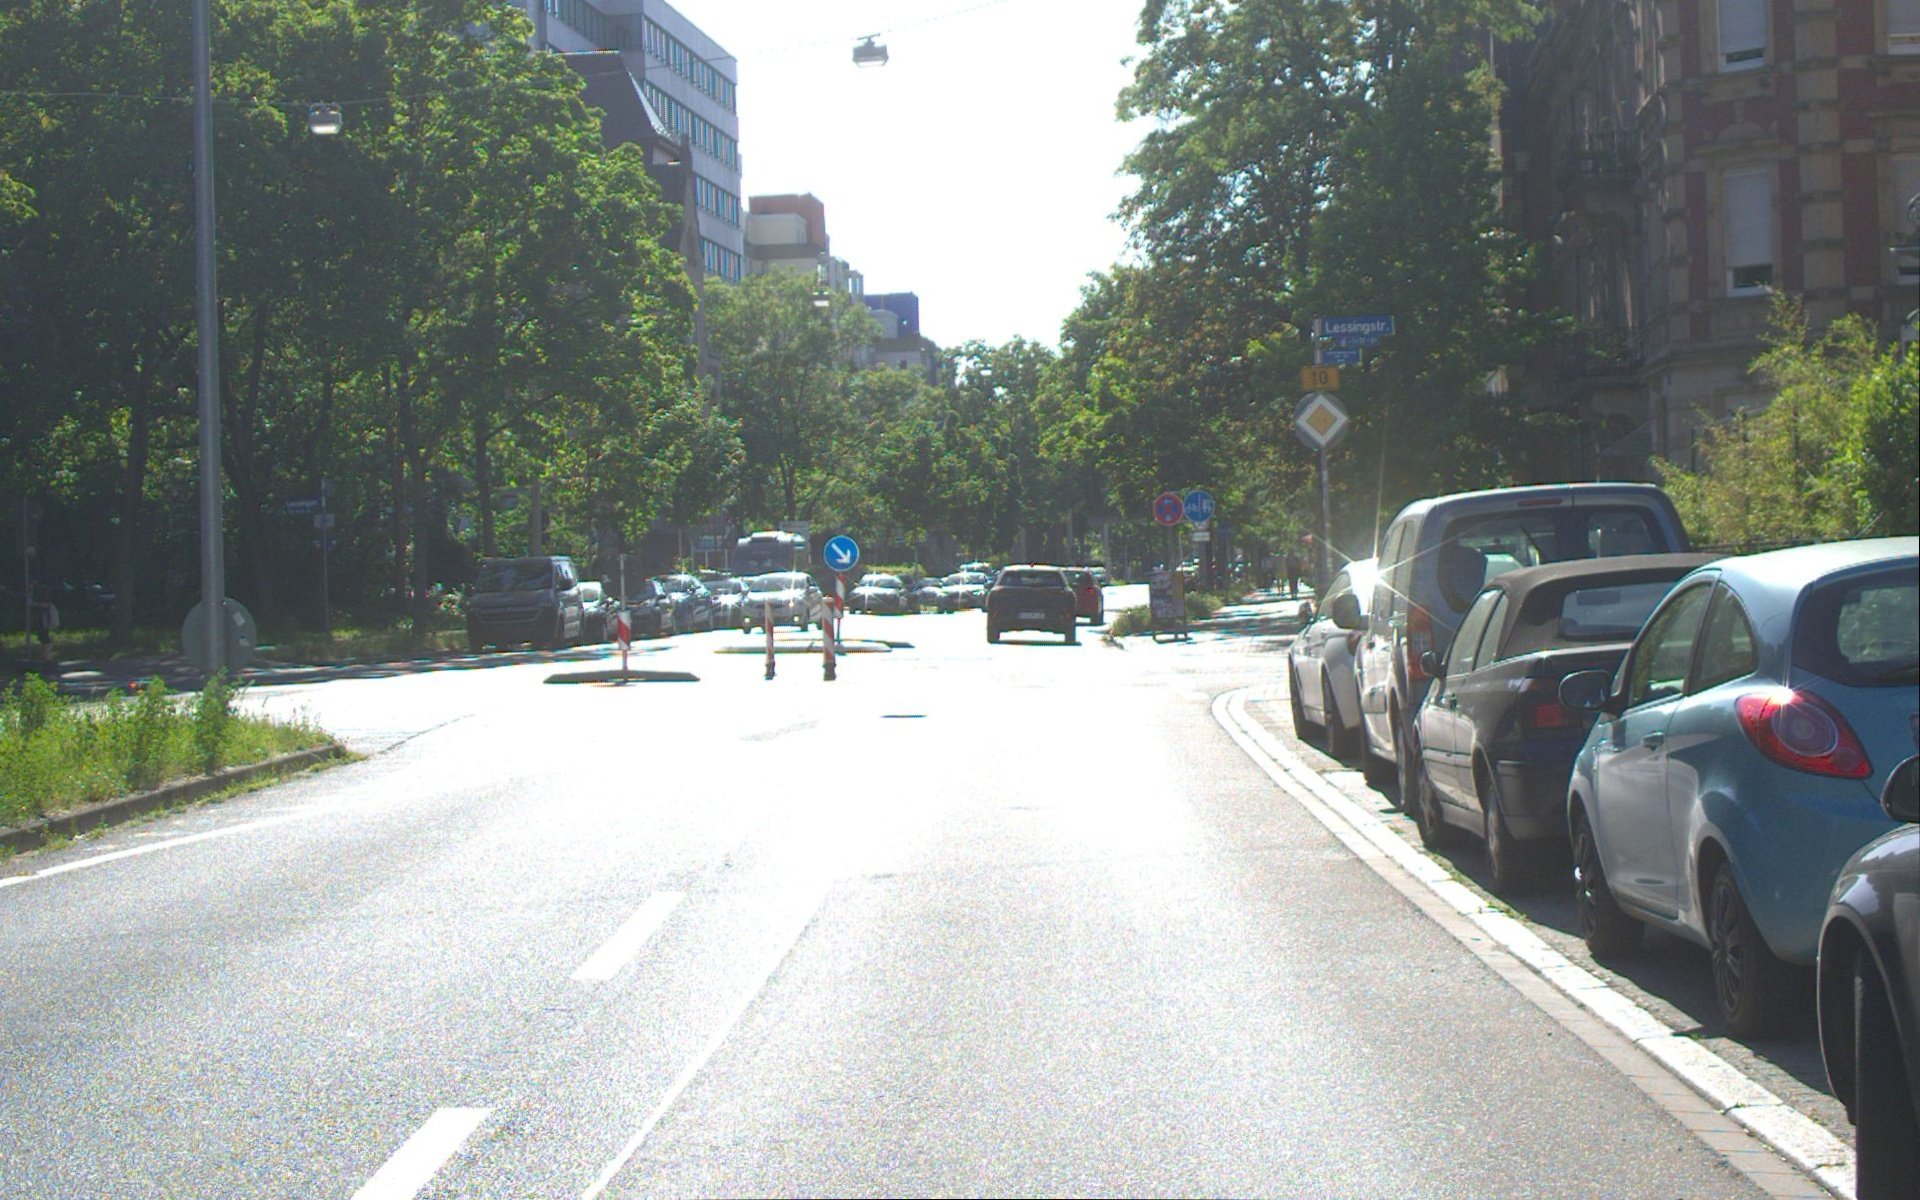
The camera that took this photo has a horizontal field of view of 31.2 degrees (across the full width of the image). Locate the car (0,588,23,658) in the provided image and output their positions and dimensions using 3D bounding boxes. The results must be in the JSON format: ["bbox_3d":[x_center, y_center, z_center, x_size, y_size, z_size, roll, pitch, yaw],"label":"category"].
[{"bbox_3d":[-24.315,0.575,83.550,1.975,1.656,4.000,-2,1,-30],"label":"car"}]

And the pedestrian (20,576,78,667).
[{"bbox_3d":[-16.480,0.393,62.173,0.669,1.621,0.714,-1,1,34],"label":"pedestrian"}]

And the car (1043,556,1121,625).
[{"bbox_3d":[3.234,-0.272,90.750,1.819,1.734,3.999,-1,1,5],"label":"car"}]

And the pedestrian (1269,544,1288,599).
[{"bbox_3d":[11.786,-1.056,127.121,0.614,2.007,0.681,-2,1,1],"label":"pedestrian"}]

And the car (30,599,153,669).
[{"bbox_3d":[-21.756,0.827,86.013,1.975,1.656,4.000,-2,1,-29],"label":"car"}]

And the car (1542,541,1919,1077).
[{"bbox_3d":[3.042,0.565,11.417,1.621,1.465,3.299,-1,1,0],"label":"car"}]

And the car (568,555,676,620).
[{"bbox_3d":[-8.395,-0.321,85.676,1.759,1.514,3.858,-1,1,8],"label":"car"}]

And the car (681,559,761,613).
[{"bbox_3d":[-6.637,-0.412,95.829,1.524,1.427,3.336,-1,1,8],"label":"car"}]

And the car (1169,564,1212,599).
[{"bbox_3d":[11.608,-0.925,172.715,1.921,1.634,3.999,-2,1,7],"label":"car"}]

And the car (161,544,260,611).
[{"bbox_3d":[-19.348,-0.581,88.669,1.974,1.656,4.001,-2,1,-19],"label":"car"}]

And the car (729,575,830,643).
[{"bbox_3d":[-4.496,0.200,86.249,1.759,1.514,3.858,-3,1,8],"label":"car"}]

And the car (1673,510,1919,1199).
[{"bbox_3d":[2.820,0.556,6.460,1.935,1.514,4.484,-2,1,-1],"label":"car"}]

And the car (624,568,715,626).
[{"bbox_3d":[-7.647,-0.098,90.765,1.524,1.427,3.552,-1,1,10],"label":"car"}]

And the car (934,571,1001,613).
[{"bbox_3d":[0.293,-0.283,122.616,1.785,1.455,4.414,-1,0,8],"label":"car"}]

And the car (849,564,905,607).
[{"bbox_3d":[-3.094,-0.547,128.378,1.802,1.499,3.807,-2,1,2],"label":"car"}]

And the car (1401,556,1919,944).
[{"bbox_3d":[3.040,0.567,15.721,1.668,1.463,4.274,-2,1,3],"label":"car"}]

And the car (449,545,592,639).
[{"bbox_3d":[-9.476,-0.201,74.500,2.199,1.923,4.862,-2,1,3],"label":"car"}]

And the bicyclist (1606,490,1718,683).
[{"bbox_3d":[5.844,-0.129,28.659,0.741,1.575,1.100,-1,2,2],"label":"bicyclist"}]

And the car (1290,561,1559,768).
[{"bbox_3d":[3.434,0.426,26.038,1.709,1.420,4.205,0,1,4],"label":"car"}]

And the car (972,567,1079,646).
[{"bbox_3d":[1.284,0.113,68.668,1.894,1.514,4.000,0,1,-2],"label":"car"}]

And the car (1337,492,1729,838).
[{"bbox_3d":[3.371,0.319,20.985,1.819,1.837,4.364,-2,1,3],"label":"car"}]

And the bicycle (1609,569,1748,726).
[{"bbox_3d":[5.952,0.374,28.582,0.741,1.215,1.960,-4,0,2],"label":"bicycle"}]
